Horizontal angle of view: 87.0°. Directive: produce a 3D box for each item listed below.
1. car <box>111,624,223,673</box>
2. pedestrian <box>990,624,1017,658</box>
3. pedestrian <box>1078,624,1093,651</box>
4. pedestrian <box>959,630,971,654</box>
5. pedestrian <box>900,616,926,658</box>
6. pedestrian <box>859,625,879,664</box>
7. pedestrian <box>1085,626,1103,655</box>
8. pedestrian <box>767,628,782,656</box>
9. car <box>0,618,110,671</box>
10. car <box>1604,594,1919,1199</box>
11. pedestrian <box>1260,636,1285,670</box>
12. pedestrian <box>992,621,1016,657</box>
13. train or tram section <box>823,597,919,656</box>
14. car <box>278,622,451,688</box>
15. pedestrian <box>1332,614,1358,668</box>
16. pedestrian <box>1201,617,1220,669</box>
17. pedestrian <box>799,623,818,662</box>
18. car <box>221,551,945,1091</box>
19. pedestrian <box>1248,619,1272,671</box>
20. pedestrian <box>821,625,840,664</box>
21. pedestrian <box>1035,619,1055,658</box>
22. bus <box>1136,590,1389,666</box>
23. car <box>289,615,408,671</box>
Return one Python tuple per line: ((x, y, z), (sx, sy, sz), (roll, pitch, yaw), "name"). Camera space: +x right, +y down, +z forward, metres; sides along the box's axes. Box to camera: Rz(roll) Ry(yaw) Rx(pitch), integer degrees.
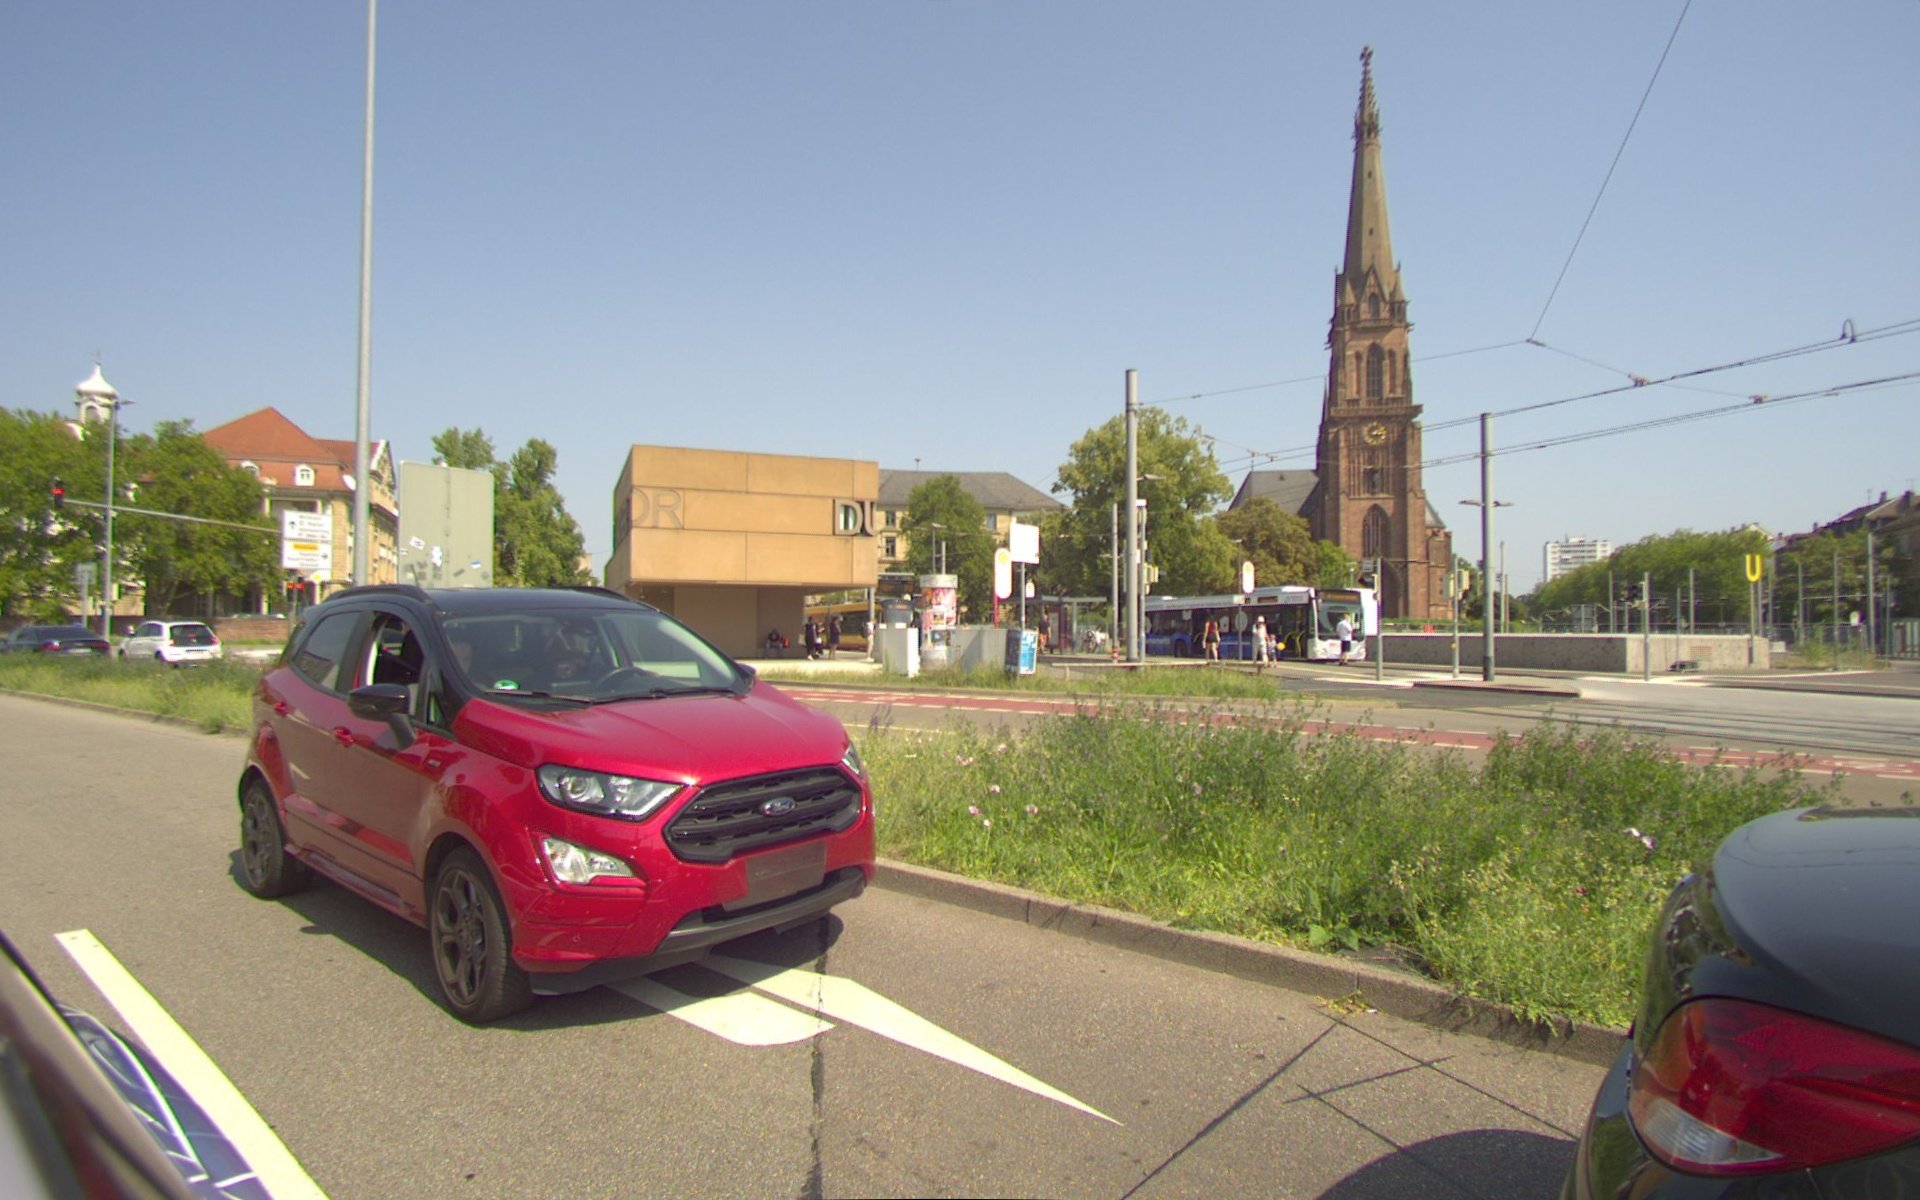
((-25.298, 1.517, 32.277), (3.460, 1.490, 1.512), (-1, -2, 28), "car")
((2.251, 2.099, 52.250), (1.060, 1.709, 1.068), (1, -2, -21), "pedestrian")
((7.627, 2.268, 61.368), (0.750, 1.645, 0.931), (-1, -2, 20), "pedestrian")
((0.301, 2.501, 60.345), (0.546, 1.405, 0.535), (1, -2, -21), "pedestrian")
((-1.702, 1.345, 36.789), (0.605, 1.508, 0.761), (-1, -3, 39), "pedestrian")
((-3.587, 1.753, 39.877), (0.541, 1.508, 0.532), (-1, -3, 39), "pedestrian")
((7.506, 2.258, 56.582), (0.780, 1.645, 0.758), (0, -2, -13), "pedestrian")
((-7.467, 1.677, 40.764), (0.530, 1.108, 0.543), (1, -2, -18), "pedestrian")
((-25.980, 1.260, 28.965), (3.466, 1.437, 1.510), (-1, -2, 32), "car")
((2.710, 0.659, 0.454), (1.745, 1.398, 3.783), (0, -1, -45), "car")
((10.612, 1.793, 34.391), (0.628, 1.134, 0.602), (-1, 0, -6), "pedestrian")
((2.277, 2.024, 52.124), (0.913, 1.837, 0.940), (1, -2, -21), "pedestrian")
((-6.158, 1.797, 67.192), (2.658, 3.465, 13.464), (1, -2, -21), "train or tram section")
((-15.708, 1.393, 26.641), (4.699, 1.597, 1.978), (-1, -2, 32), "car")
((13.421, 1.424, 35.268), (0.592, 1.825, 0.639), (-1, 0, -40), "pedestrian")
((8.868, 1.518, 35.773), (0.632, 1.825, 0.599), (-1, 0, 16), "pedestrian")
((-5.880, 1.657, 39.290), (0.541, 1.508, 0.532), (-1, -3, 39), "pedestrian")
((-2.060, 0.689, 4.911), (3.843, 1.598, 1.672), (-2, -1, 41), "car")
((10.054, 1.502, 33.902), (0.528, 1.724, 0.694), (0, -2, -6), "pedestrian")
((-5.098, 1.738, 39.881), (0.541, 1.508, 0.532), (-1, -3, 39), "pedestrian")
((4.014, 1.820, 47.630), (0.792, 1.837, 0.535), (1, -2, -21), "pedestrian")
((12.106, 1.192, 42.657), (3.346, 2.733, 12.382), (1, -2, -21), "bus")
((-21.502, 1.472, 35.560), (3.898, 1.868, 1.851), (0, -2, 29), "car")
